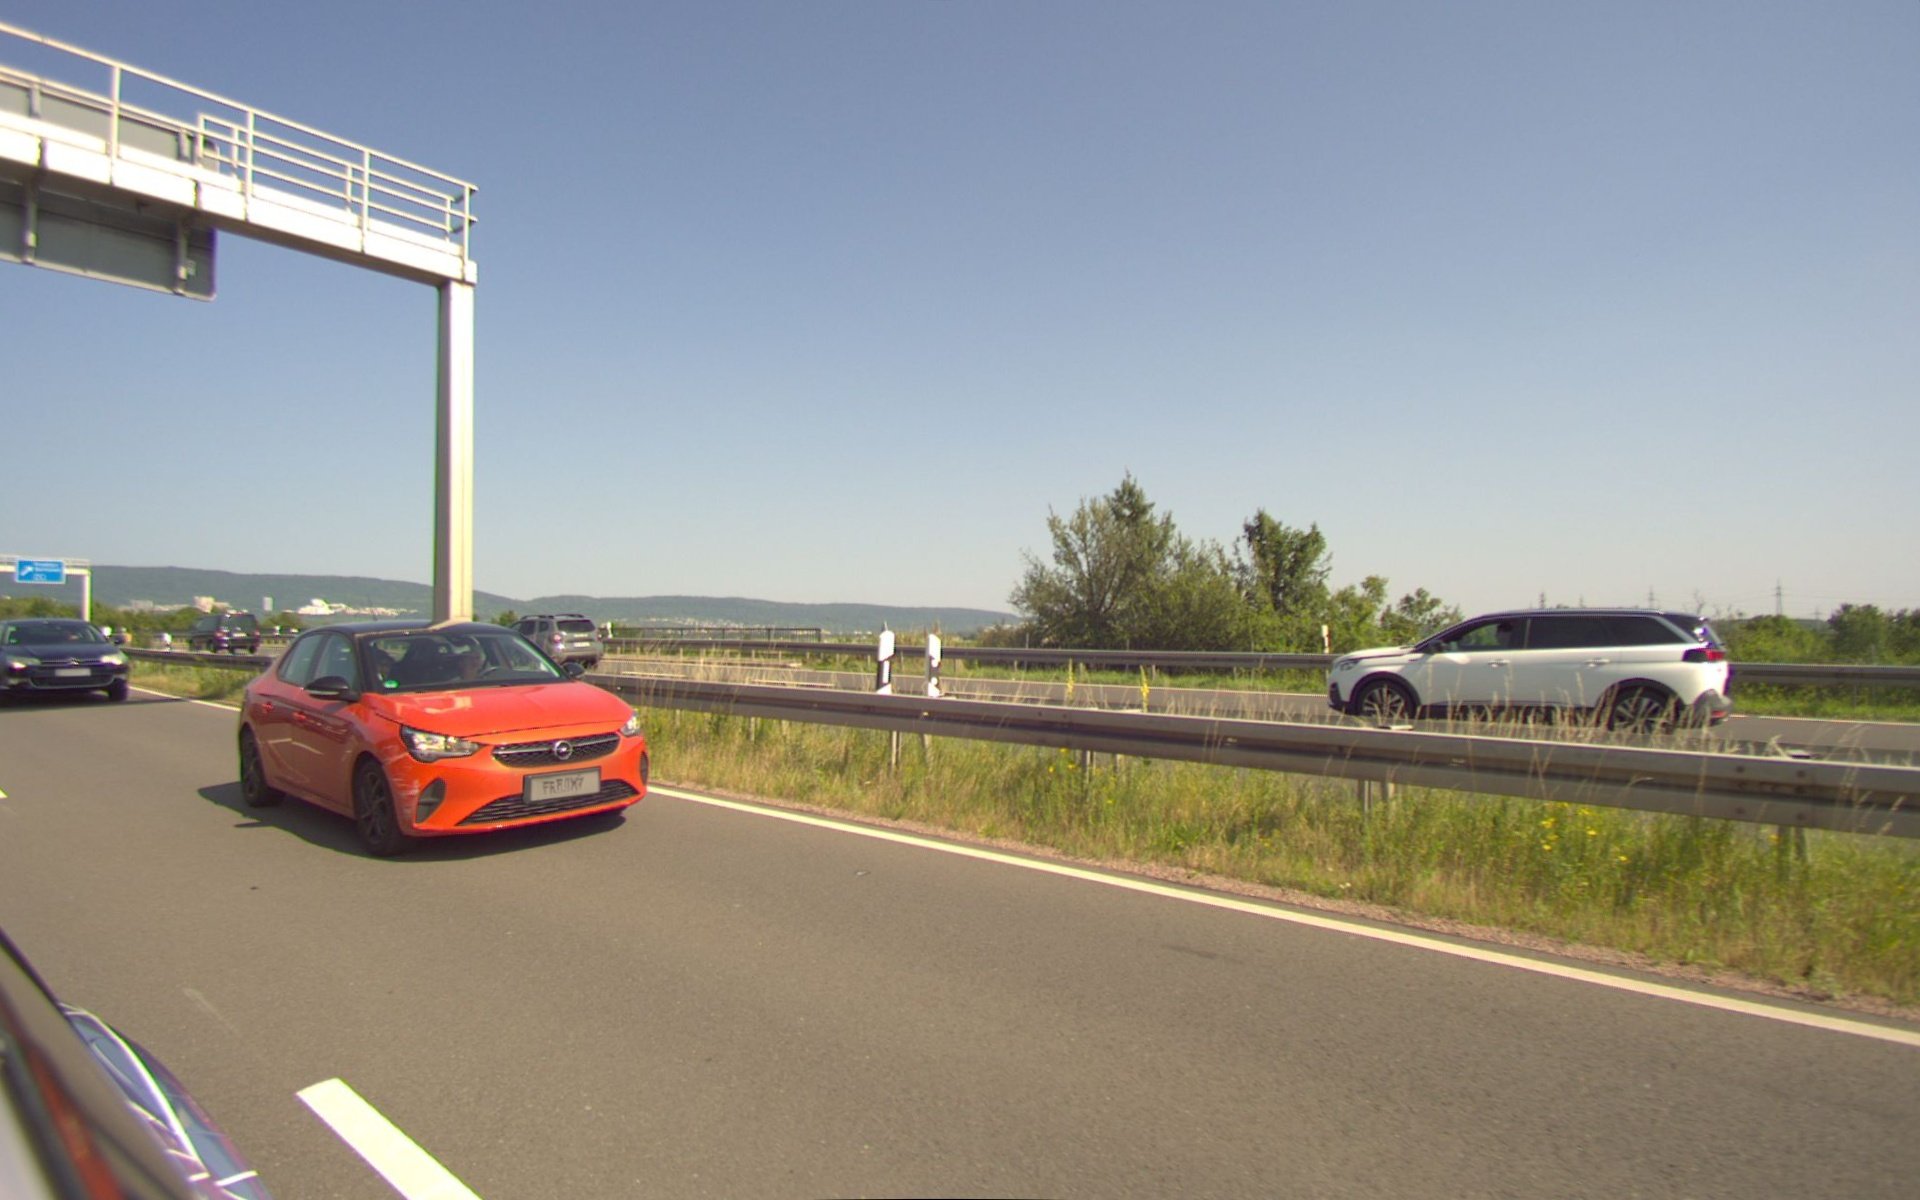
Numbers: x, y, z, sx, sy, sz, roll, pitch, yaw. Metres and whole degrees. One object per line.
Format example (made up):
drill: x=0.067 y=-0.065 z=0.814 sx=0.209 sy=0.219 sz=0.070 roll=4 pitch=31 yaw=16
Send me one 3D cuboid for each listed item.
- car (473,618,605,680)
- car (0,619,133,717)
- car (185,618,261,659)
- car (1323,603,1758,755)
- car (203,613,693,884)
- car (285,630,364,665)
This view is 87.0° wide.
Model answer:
car: x=-12.073 y=1.377 z=28.946 sx=3.996 sy=1.629 sz=1.716 roll=-2 pitch=-2 yaw=37
car: x=-16.548 y=1.138 z=18.218 sx=4.371 sy=1.545 sz=1.766 roll=-1 pitch=-1 yaw=40
car: x=-36.475 y=1.869 z=50.035 sx=4.413 sy=1.920 sz=1.974 roll=-2 pitch=-2 yaw=39
car: x=7.364 y=0.905 z=13.154 sx=4.622 sy=1.632 sz=1.884 roll=-2 pitch=-1 yaw=37
car: x=-3.998 y=0.888 z=7.513 sx=4.409 sy=1.448 sz=1.691 roll=-3 pitch=-2 yaw=40
car: x=-25.267 y=1.886 z=40.195 sx=3.711 sy=1.279 sz=1.551 roll=-2 pitch=-2 yaw=39
